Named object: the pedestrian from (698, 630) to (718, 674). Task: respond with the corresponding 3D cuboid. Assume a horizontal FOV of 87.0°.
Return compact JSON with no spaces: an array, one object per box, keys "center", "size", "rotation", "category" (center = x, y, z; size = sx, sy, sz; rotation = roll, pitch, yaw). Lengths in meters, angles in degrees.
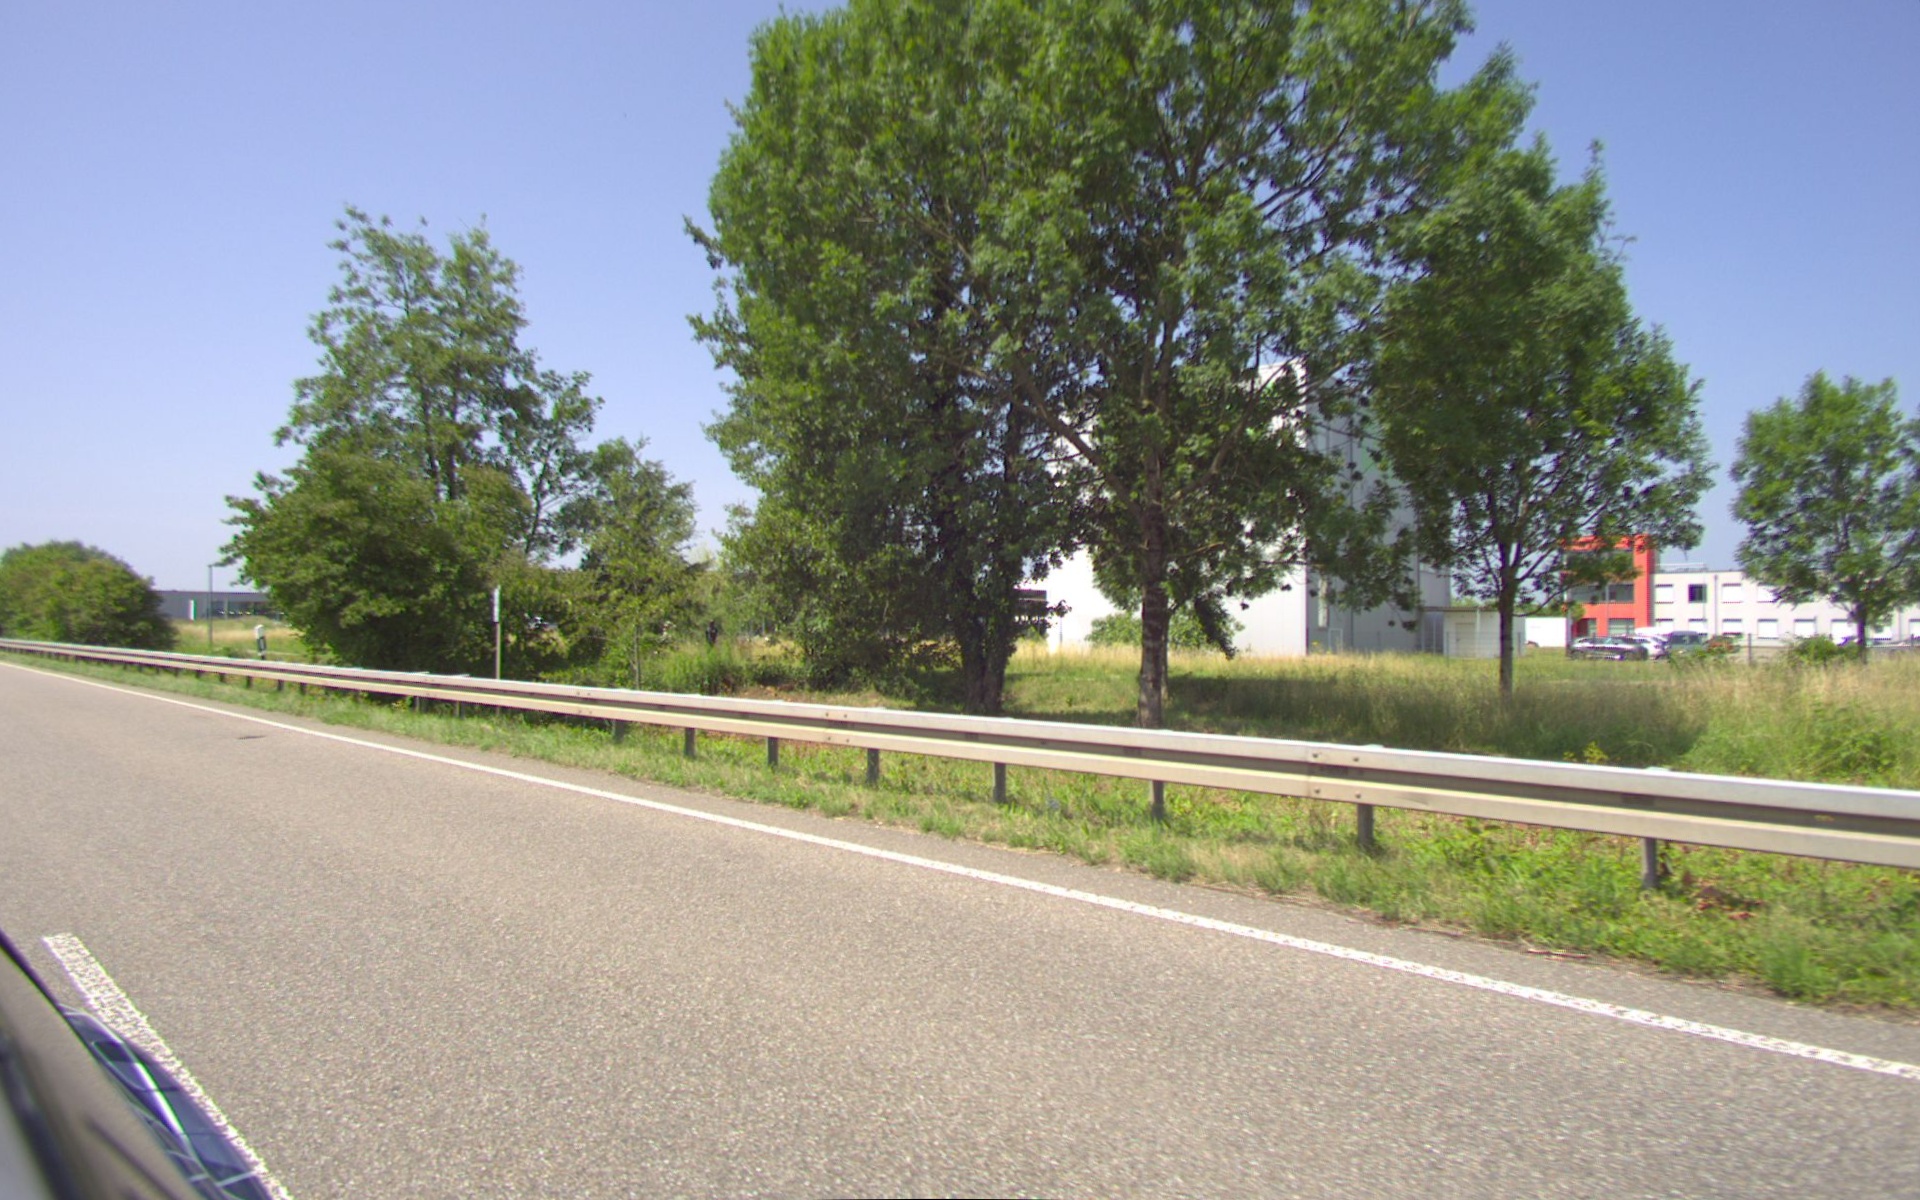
[{"center":[-10.378,2.131,41.673],"size":[0.707,1.762,0.940],"rotation":[-1,-1,-17],"category":"pedestrian"}]
